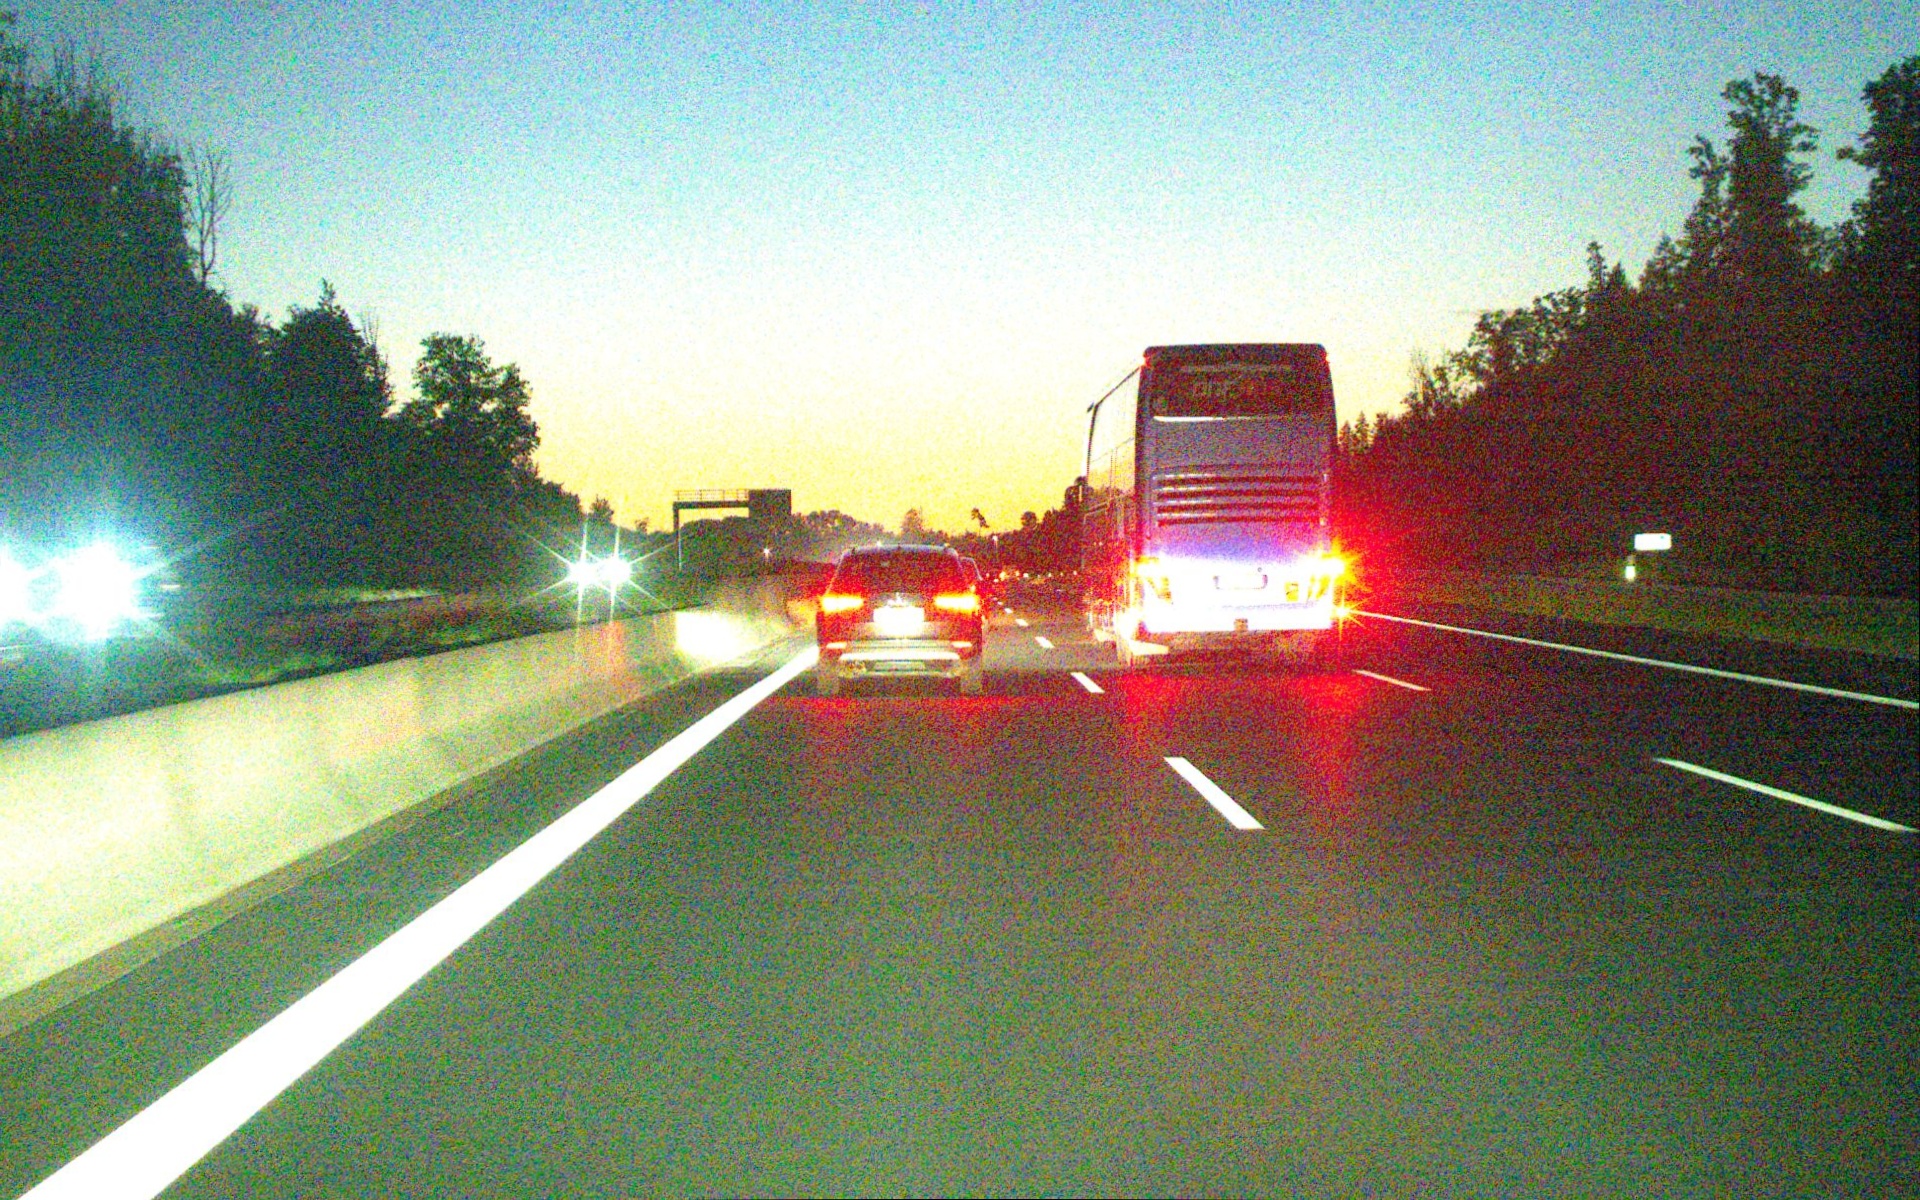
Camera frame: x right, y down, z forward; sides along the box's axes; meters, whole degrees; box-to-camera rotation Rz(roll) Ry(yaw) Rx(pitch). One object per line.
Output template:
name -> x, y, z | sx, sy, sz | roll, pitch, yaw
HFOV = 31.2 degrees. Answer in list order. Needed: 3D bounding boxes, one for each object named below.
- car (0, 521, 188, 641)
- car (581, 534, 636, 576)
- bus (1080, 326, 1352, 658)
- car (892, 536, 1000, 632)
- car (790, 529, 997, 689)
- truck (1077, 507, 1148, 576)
car -> -12.155, -0.304, 47.758 | 1.933, 1.556, 4.454 | 1, 1, -1
car -> -15.677, -2.036, 153.588 | 1.992, 1.770, 5.171 | 1, 1, -1
bus -> 3.372, -1.332, 49.120 | 2.652, 3.980, 14.702 | -1, 0, 0
car -> -0.304, -0.303, 65.803 | 1.911, 1.724, 4.000 | -2, 0, -2
car -> -0.752, 0.095, 37.573 | 2.105, 1.612, 4.204 | -1, 0, -2
truck -> 6.458, -2.456, 146.316 | 2.603, 2.865, 7.486 | 0, 0, -1
